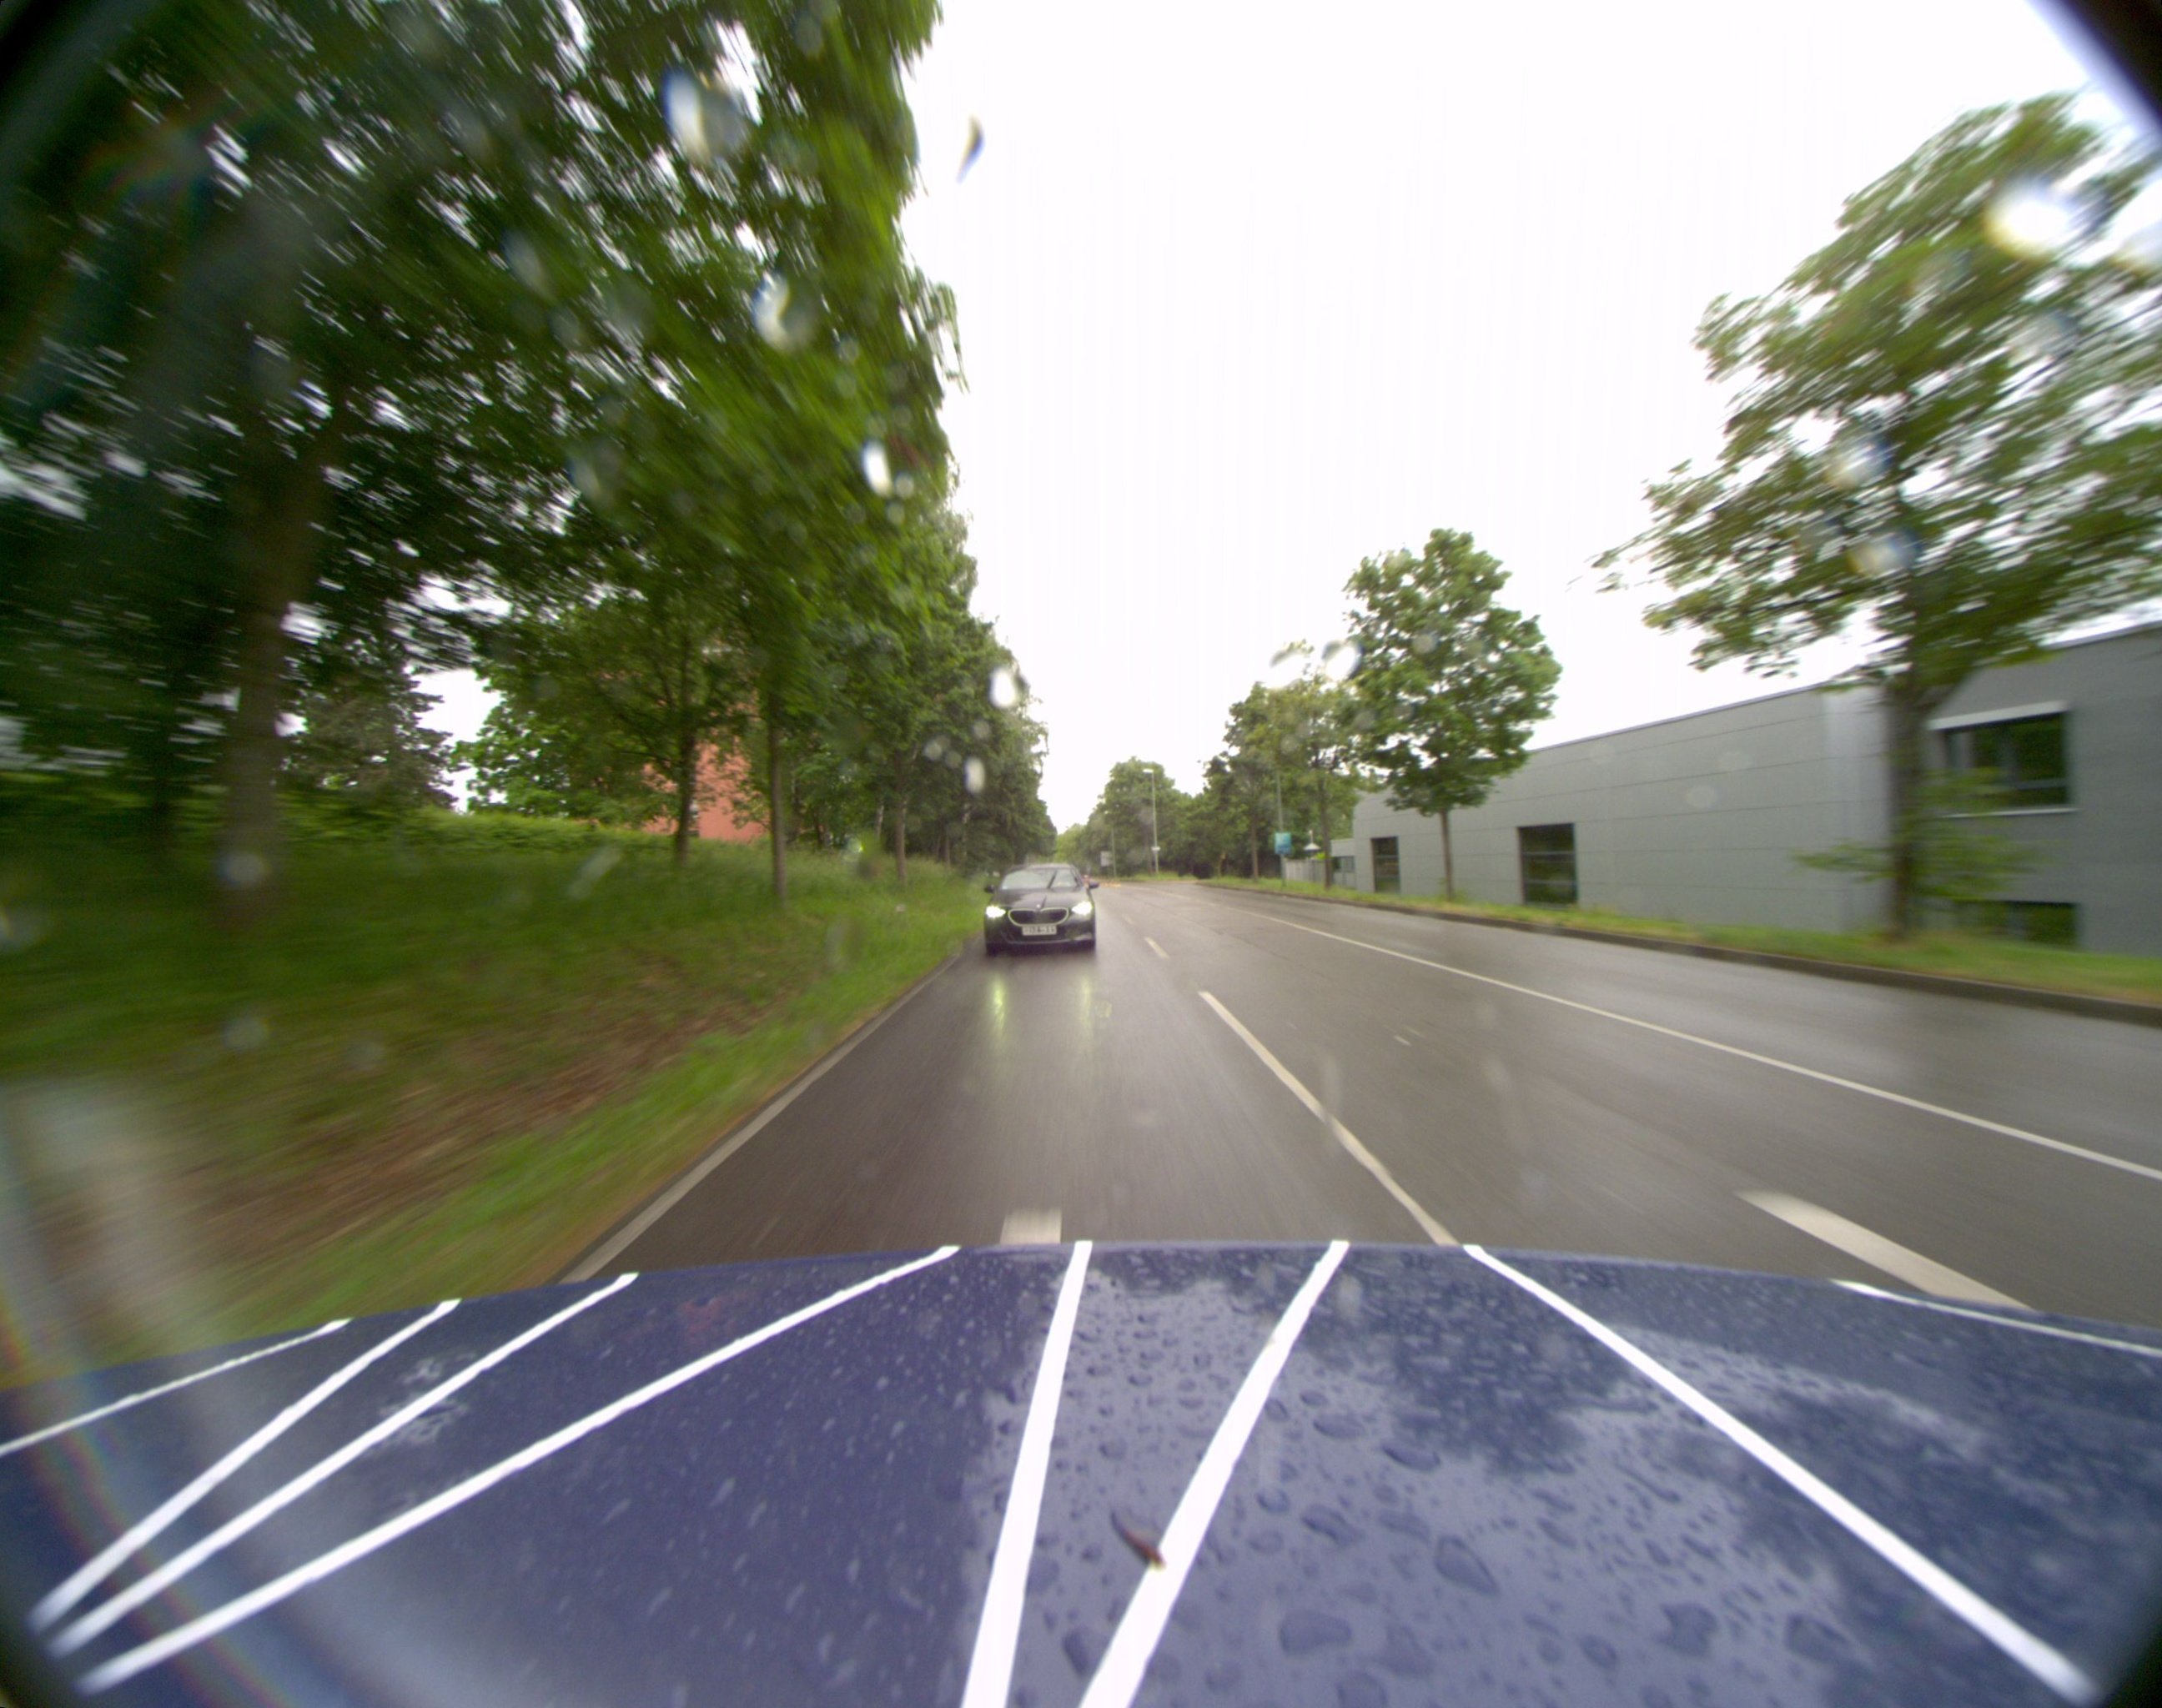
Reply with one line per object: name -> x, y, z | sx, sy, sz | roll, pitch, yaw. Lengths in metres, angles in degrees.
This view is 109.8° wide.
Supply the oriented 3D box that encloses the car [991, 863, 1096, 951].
car -> -0.701, 0.967, 15.552 | 1.845, 1.471, 3.999 | -1, 0, -1
